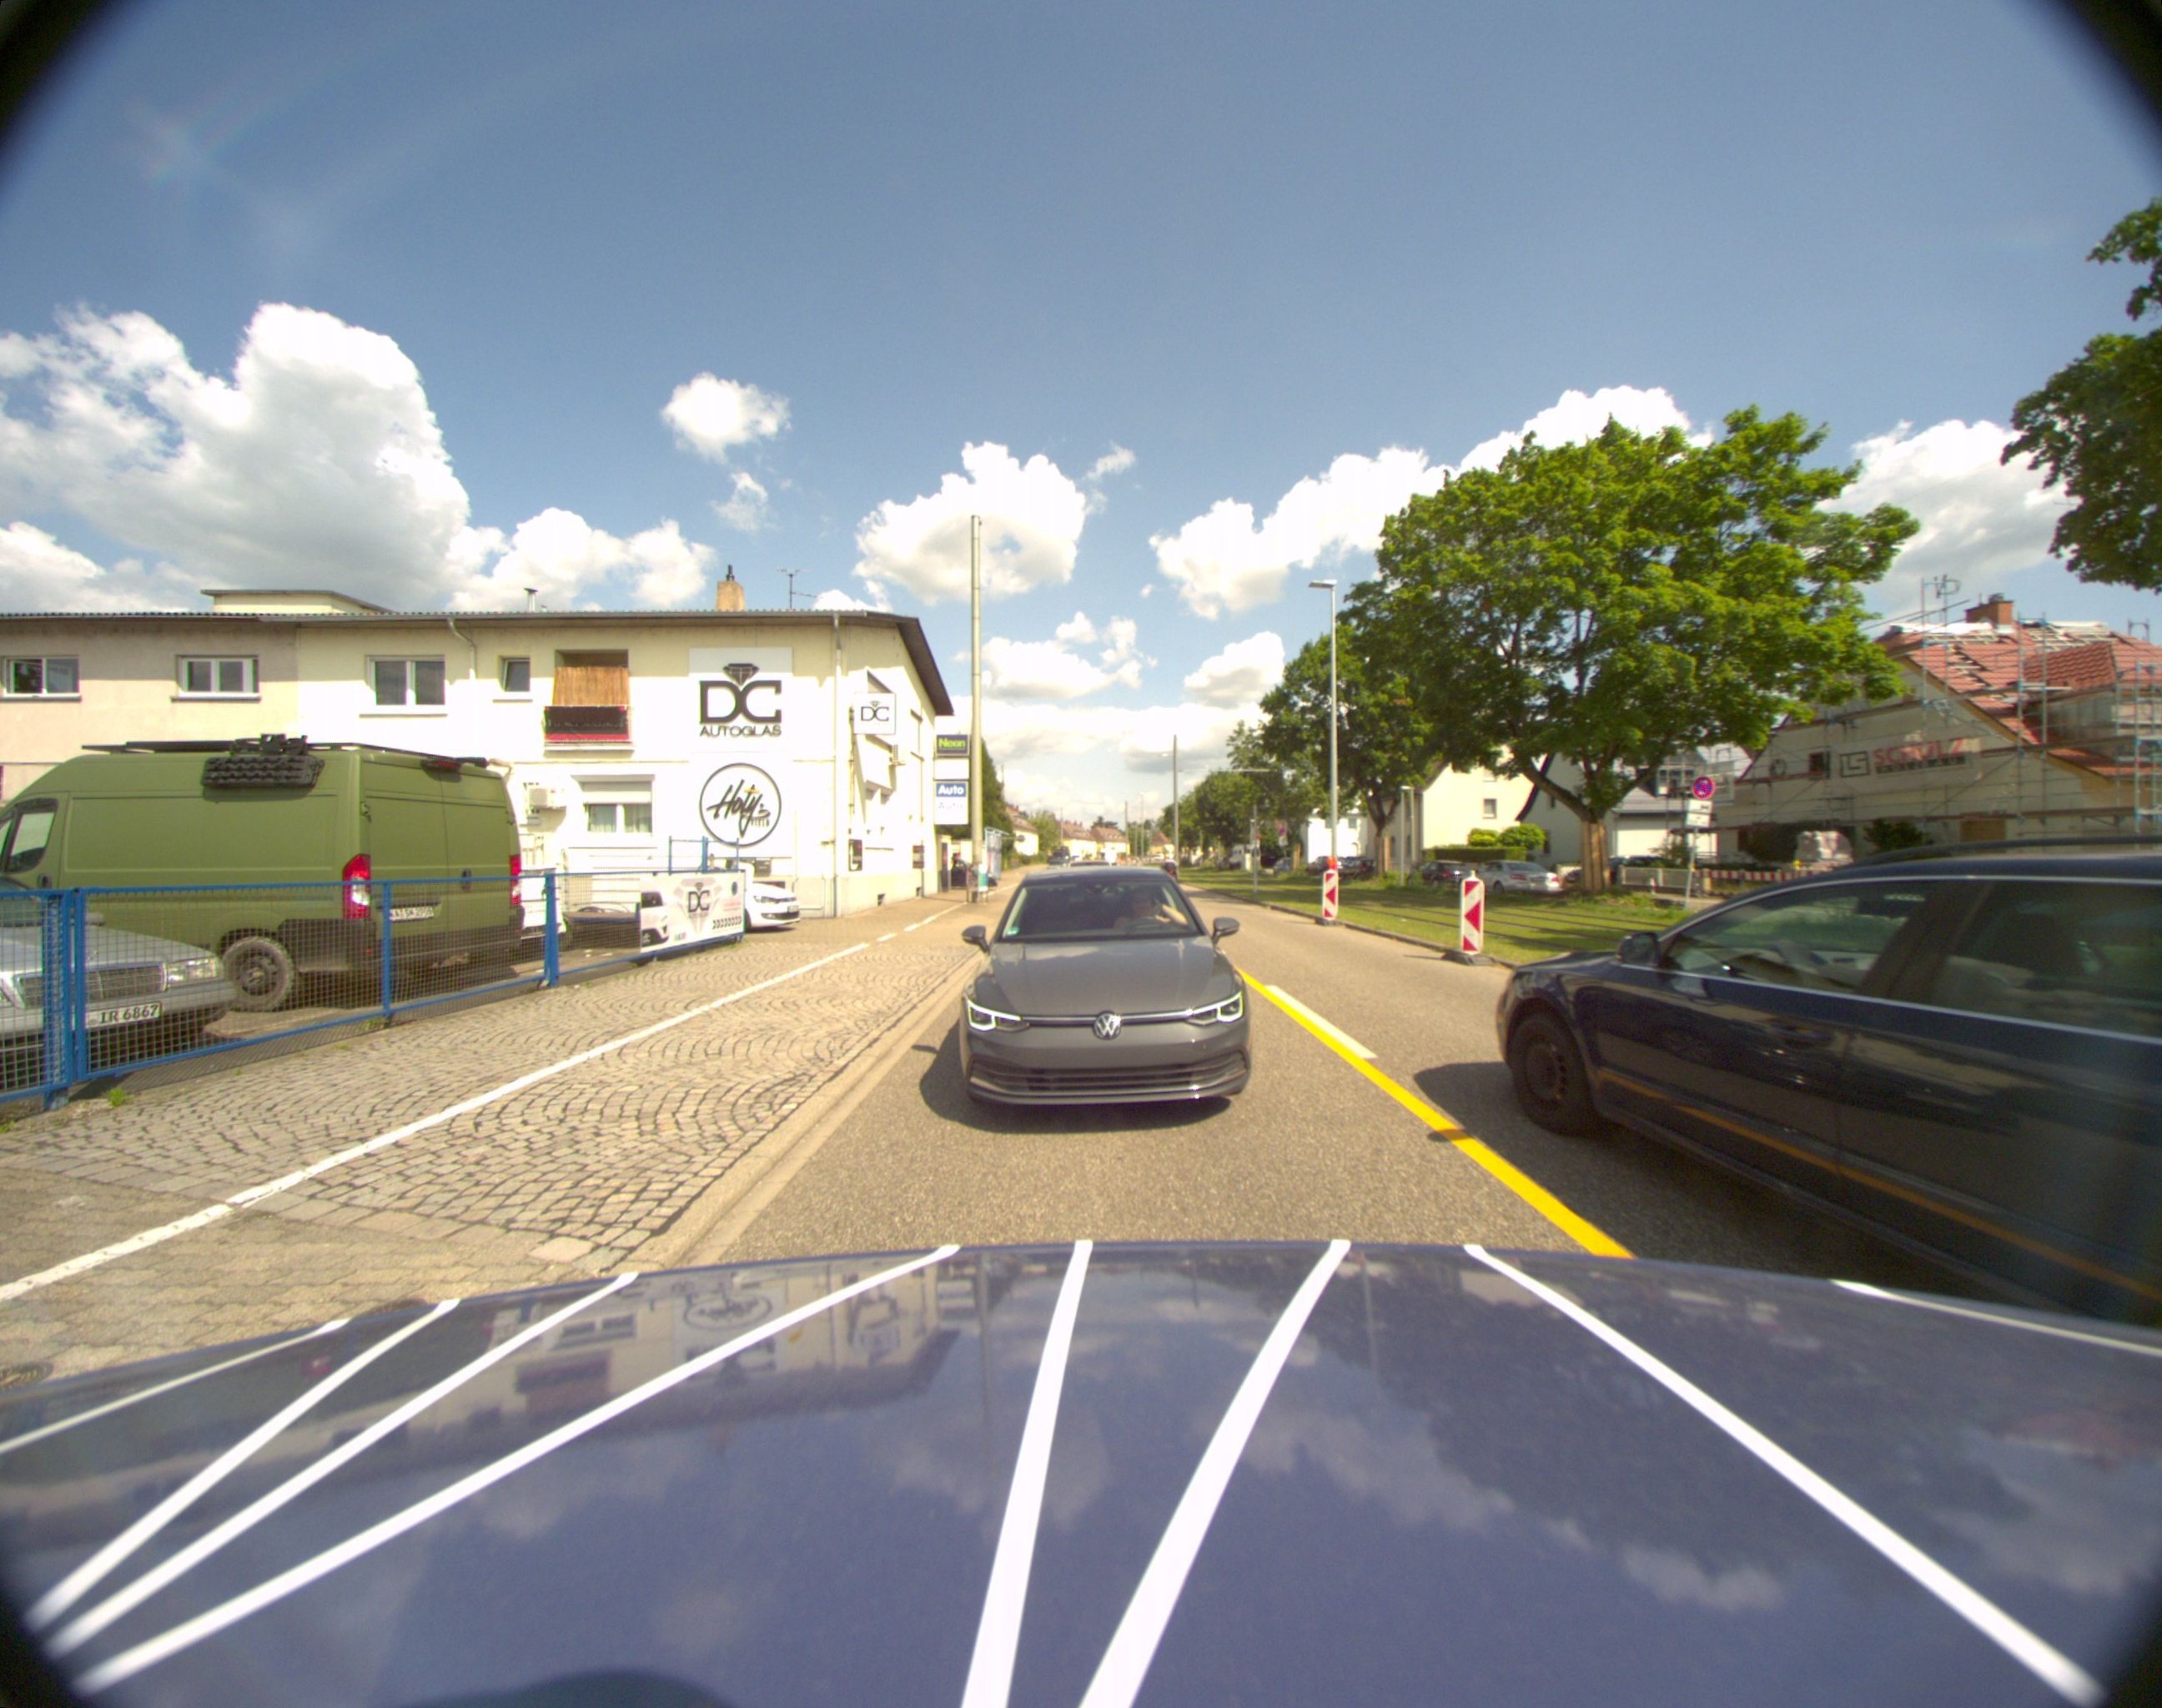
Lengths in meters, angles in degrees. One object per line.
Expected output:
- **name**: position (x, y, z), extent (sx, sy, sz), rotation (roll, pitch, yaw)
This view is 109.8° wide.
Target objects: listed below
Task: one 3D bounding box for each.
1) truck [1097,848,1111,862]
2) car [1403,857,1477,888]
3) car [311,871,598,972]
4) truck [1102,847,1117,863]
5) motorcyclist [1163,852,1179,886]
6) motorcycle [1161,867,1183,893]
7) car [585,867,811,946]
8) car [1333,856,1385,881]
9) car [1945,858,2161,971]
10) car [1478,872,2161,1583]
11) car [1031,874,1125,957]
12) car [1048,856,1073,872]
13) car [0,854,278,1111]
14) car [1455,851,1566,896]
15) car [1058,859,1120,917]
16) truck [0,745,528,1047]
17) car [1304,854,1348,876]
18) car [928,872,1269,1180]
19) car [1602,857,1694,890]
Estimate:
- **truck**: position (5.097, 0.201, 169.606), extent (2.631, 2.872, 7.925), rotation (-2, 1, 5)
- **car**: position (16.564, 0.826, 35.244), extent (1.625, 1.235, 3.786), rotation (-2, 1, 1)
- **car**: position (-8.877, 0.925, 10.912), extent (3.033, 1.267, 1.332), rotation (1, 1, 2)
- **truck**: position (5.513, 0.194, 145.552), extent (2.665, 2.786, 7.539), rotation (-2, 1, 3)
- **motorcyclist**: position (3.900, 0.633, 32.885), extent (0.651, 1.434, 0.588), rotation (0, 1, 1)
- **motorcycle**: position (3.919, 1.097, 32.892), extent (0.707, 1.036, 2.465), rotation (0, 1, 1)
- **car**: position (-7.572, 1.018, 15.222), extent (3.725, 1.350, 1.518), rotation (-2, 1, 4)
- **car**: position (16.375, 0.803, 44.918), extent (1.636, 1.294, 3.999), rotation (-2, 1, 1)
- **car**: position (16.254, 0.879, 11.600), extent (1.672, 1.504, 3.930), rotation (-2, 1, 0)
- **car**: position (3.233, 0.866, 2.277), extent (1.715, 1.478, 4.536), rotation (1, 0, 0)
- **car**: position (-0.010, 1.086, 14.747), extent (1.555, 1.216, 3.729), rotation (-2, 1, 1)
- **car**: position (-1.922, 0.896, 71.387), extent (1.823, 1.412, 4.002), rotation (0, 0, 7)
- **car**: position (-8.458, 0.842, 5.238), extent (4.257, 1.499, 1.828), rotation (-2, 1, 8)
- **car**: position (16.427, 0.695, 29.348), extent (1.707, 1.504, 4.523), rotation (-2, 1, 0)
- **car**: position (0.238, 0.930, 22.350), extent (1.594, 1.418, 3.707), rotation (-2, 1, 1)
- **truck**: position (-8.748, 0.404, 8.013), extent (4.181, 2.645, 2.108), rotation (-2, 1, 2)
- **car**: position (16.377, 0.728, 50.916), extent (1.636, 1.294, 3.999), rotation (-2, 1, 1)
- **car**: position (0.141, 0.959, 6.166), extent (1.743, 1.410, 4.381), rotation (-2, 1, 1)
- **car**: position (25.975, 0.905, 34.908), extent (3.238, 1.374, 1.490), rotation (-2, 1, 30)
